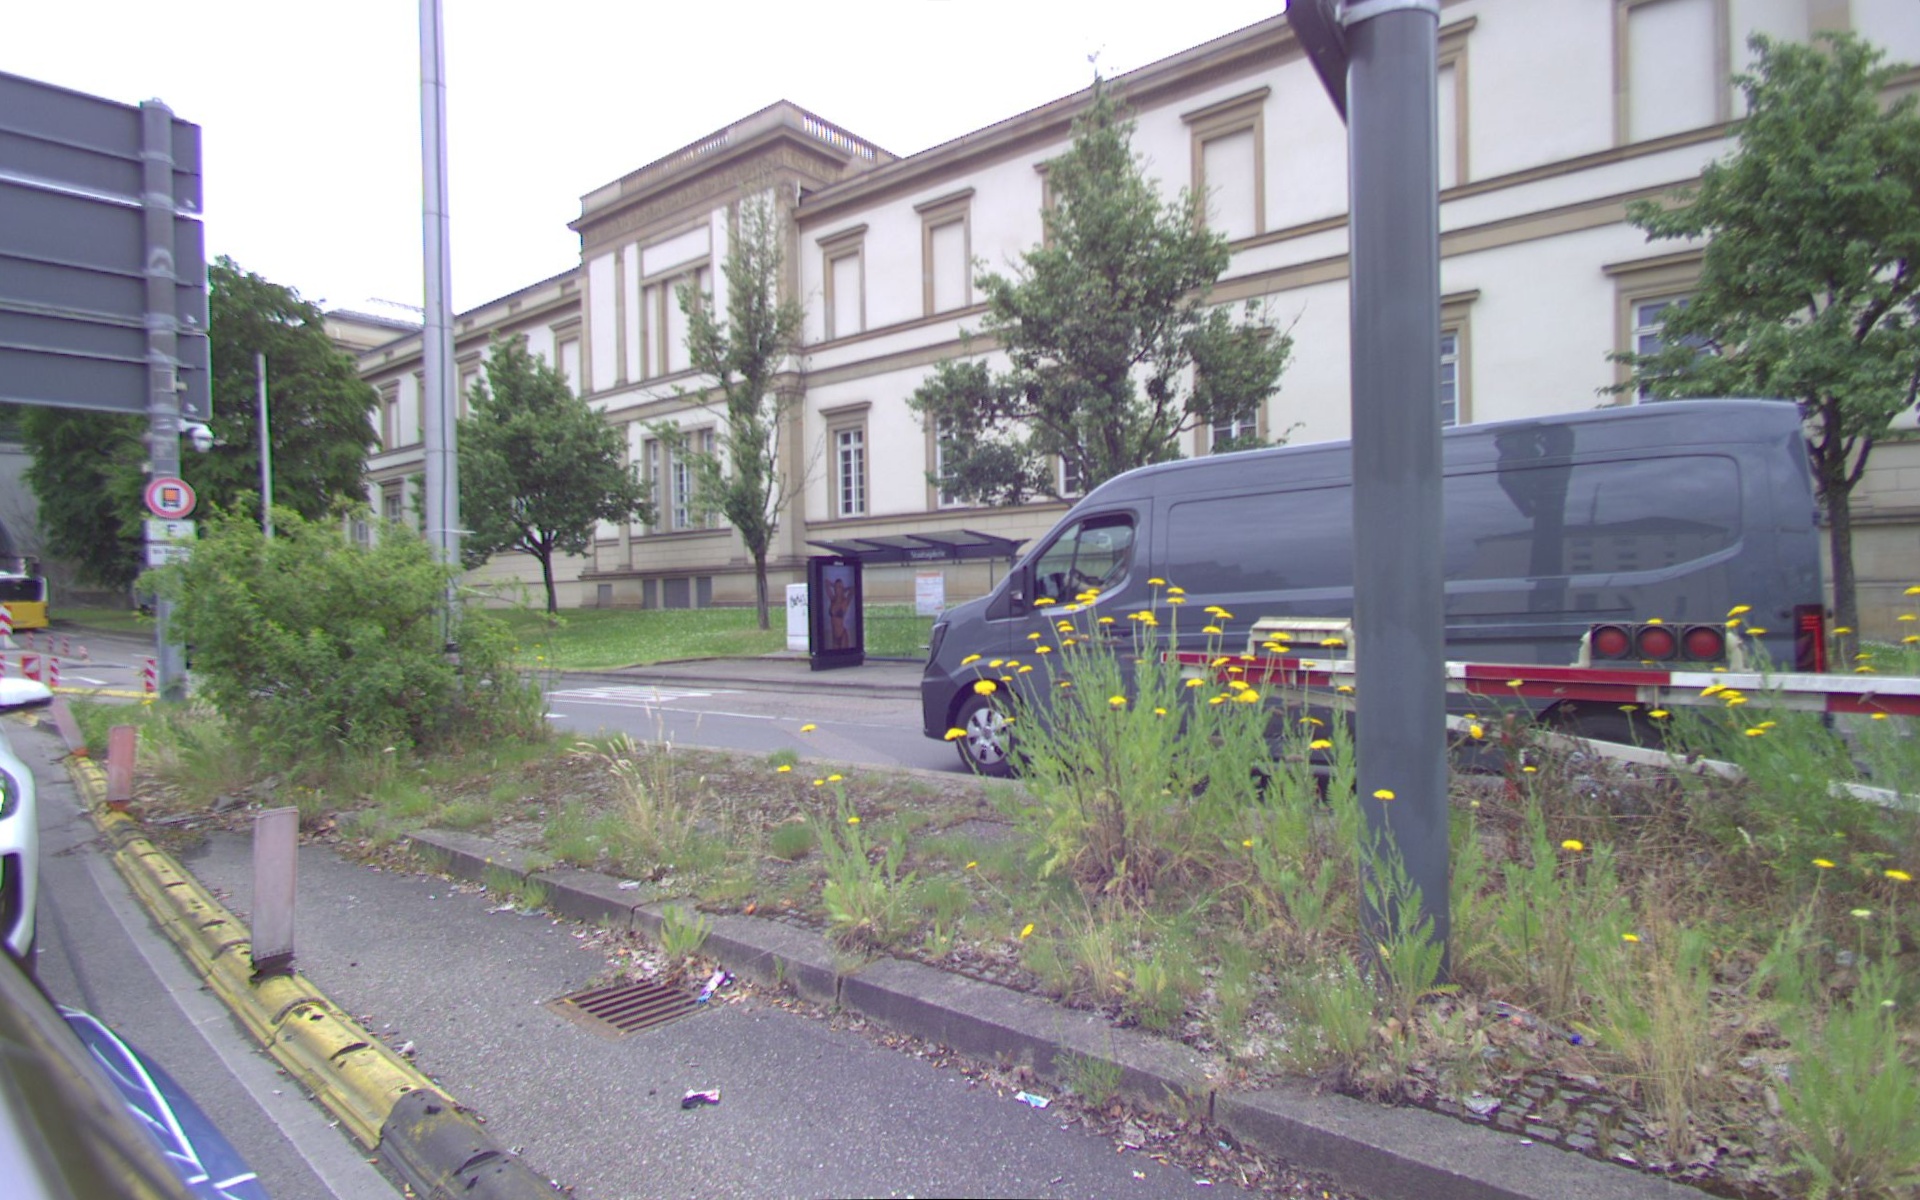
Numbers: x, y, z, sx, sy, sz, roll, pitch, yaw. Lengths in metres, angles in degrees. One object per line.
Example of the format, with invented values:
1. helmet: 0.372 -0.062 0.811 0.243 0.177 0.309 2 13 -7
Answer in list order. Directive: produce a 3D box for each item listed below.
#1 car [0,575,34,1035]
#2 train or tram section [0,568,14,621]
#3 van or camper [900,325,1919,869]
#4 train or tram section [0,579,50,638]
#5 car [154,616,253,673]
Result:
1. car: -5.231 0.723 4.209 3.911 1.568 1.733 -1 0 43
2. train or tram section: -60.836 -0.255 62.068 9.363 3.094 2.668 -1 -2 38
3. van or camper: 2.648 0.053 7.458 6.065 2.630 2.135 -2 -1 33
4. train or tram section: -53.489 0.529 56.308 9.323 3.094 2.668 -1 -2 38
5. car: -24.010 1.346 32.066 4.373 1.638 1.858 -1 0 45
